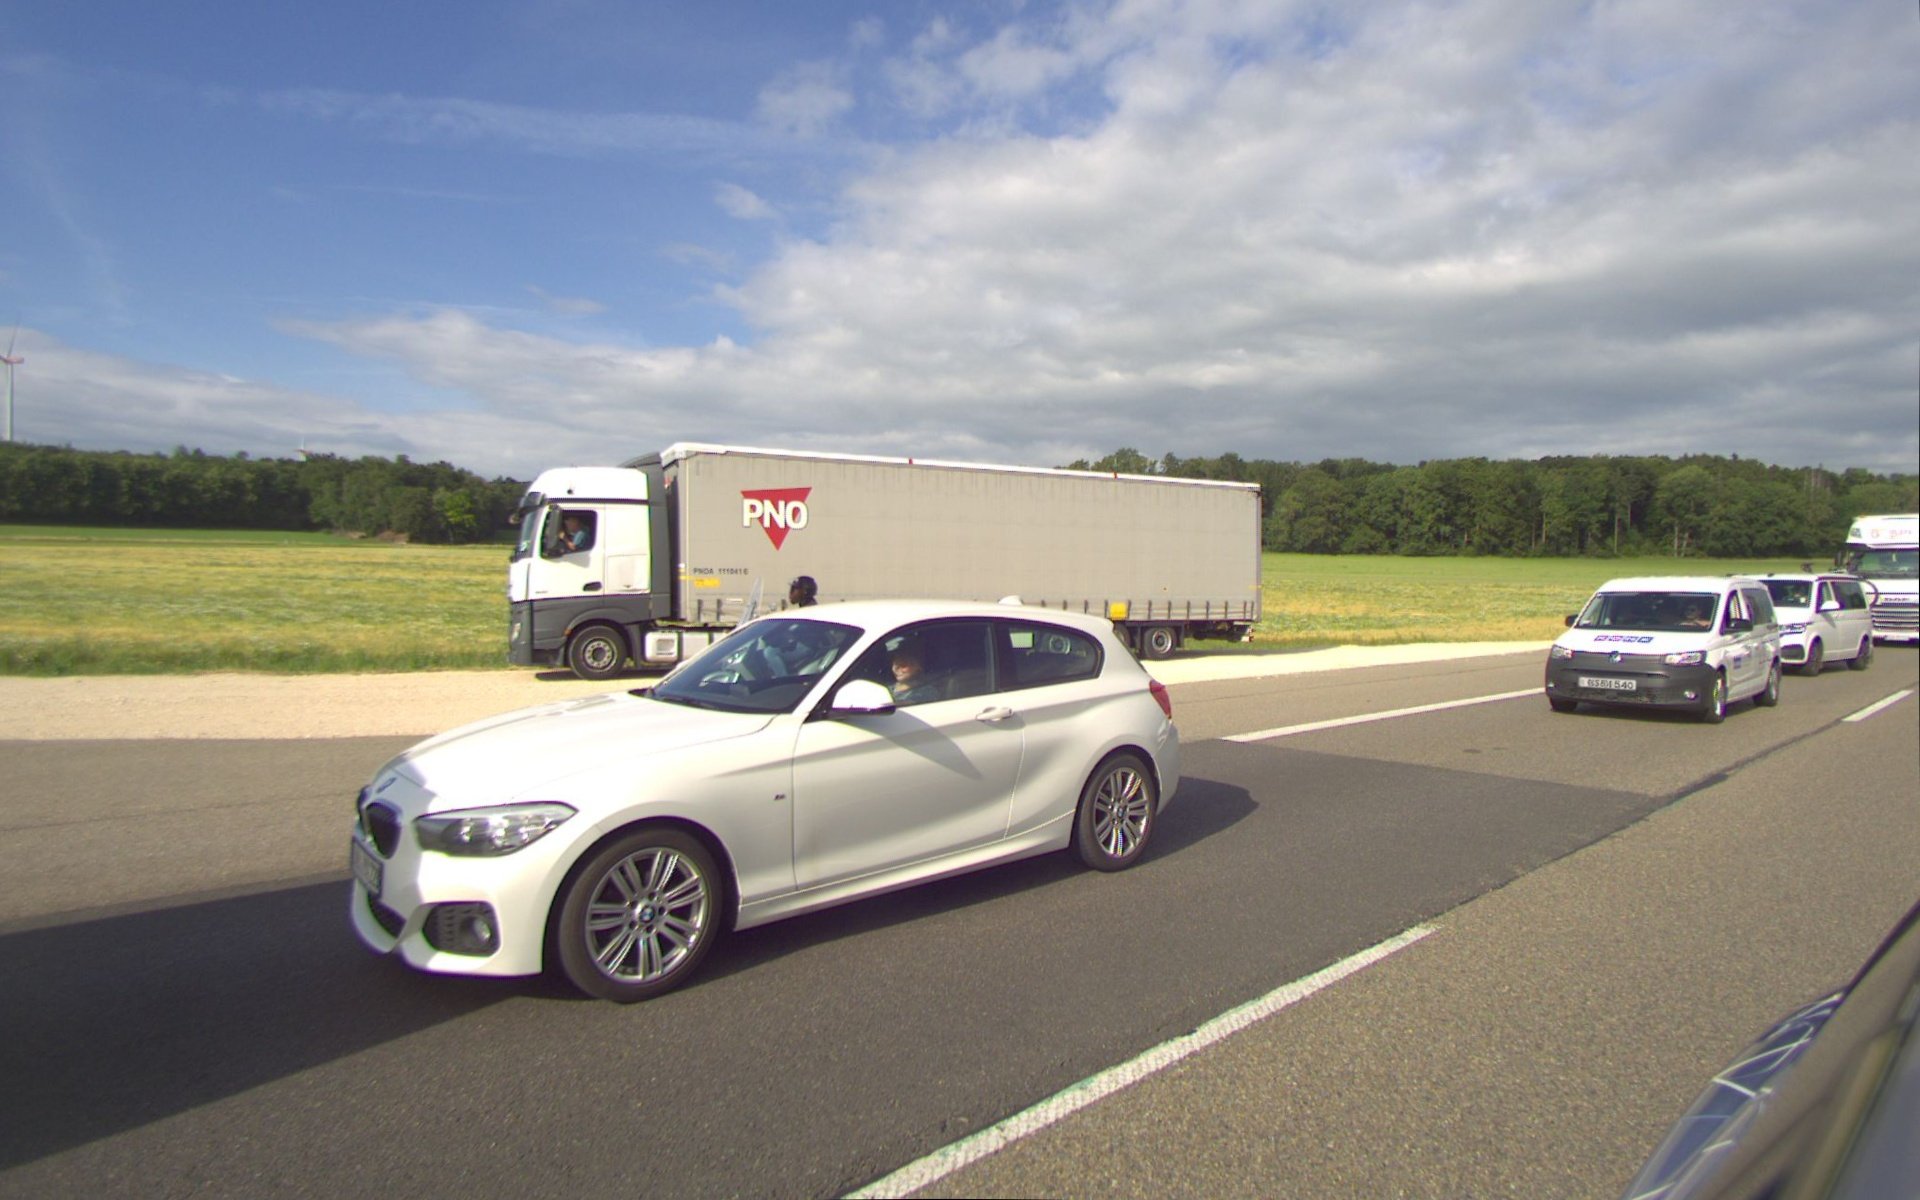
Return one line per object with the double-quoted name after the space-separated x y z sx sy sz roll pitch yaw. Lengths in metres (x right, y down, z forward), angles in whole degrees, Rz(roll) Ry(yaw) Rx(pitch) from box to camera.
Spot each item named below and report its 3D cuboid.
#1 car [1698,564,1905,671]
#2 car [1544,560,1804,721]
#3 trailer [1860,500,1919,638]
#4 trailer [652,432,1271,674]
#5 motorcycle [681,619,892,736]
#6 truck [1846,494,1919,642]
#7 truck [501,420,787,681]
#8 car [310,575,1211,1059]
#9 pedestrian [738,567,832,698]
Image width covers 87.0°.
17.194 0.315 20.600 5.165 1.949 1.801 0 0 -33 "car"
9.511 0.442 13.330 4.620 1.779 1.727 0 0 -41 "car"
34.422 -1.061 35.425 13.778 4.212 2.739 -1 1 -42 "trailer"
0.578 -0.810 21.802 13.543 4.213 2.748 0 0 -26 "trailer"
-1.919 0.817 11.351 2.200 1.164 0.759 0 1 -32 "motorcycle"
29.396 -0.959 30.950 5.667 4.226 2.733 -1 1 -41 "truck"
-5.843 -0.800 18.621 4.662 4.227 2.726 0 0 -26 "truck"
-0.669 0.645 5.069 4.159 1.450 1.706 0 0 -42 "car"
-1.958 0.340 11.322 0.803 1.391 0.758 0 0 -32 "pedestrian"
